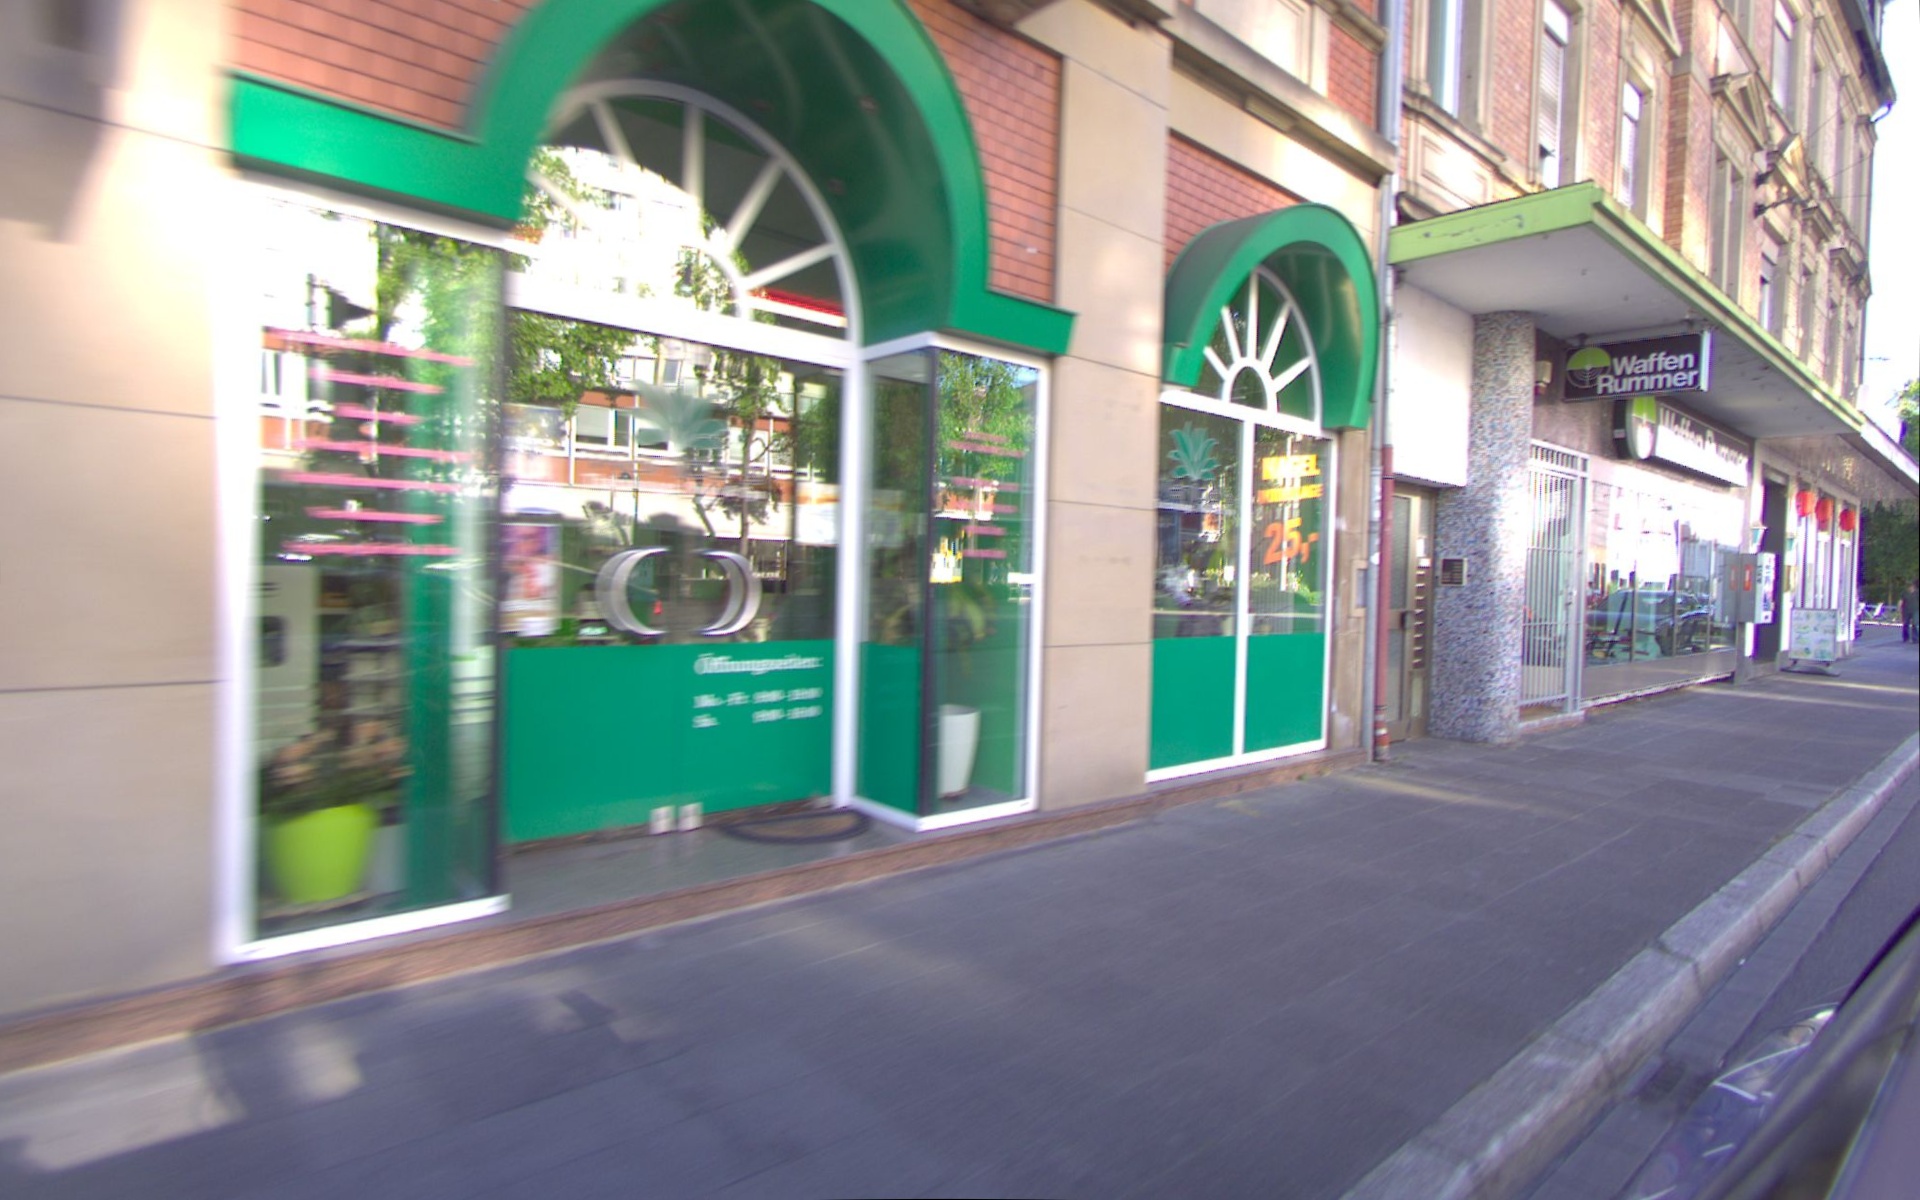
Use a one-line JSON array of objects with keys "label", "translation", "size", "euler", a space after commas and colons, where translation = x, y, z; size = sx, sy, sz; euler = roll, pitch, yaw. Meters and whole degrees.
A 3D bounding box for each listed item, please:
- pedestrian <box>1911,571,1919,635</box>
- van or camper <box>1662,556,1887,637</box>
[{"label": "pedestrian", "translation": [29.676, 0.083, 30.972], "size": [1.044, 1.935, 0.686], "euler": [-1, 1, -38]}, {"label": "van or camper", "translation": [23.749, -0.175, 29.682], "size": [1.963, 1.956, 4.709], "euler": [0, 5, -37]}]
